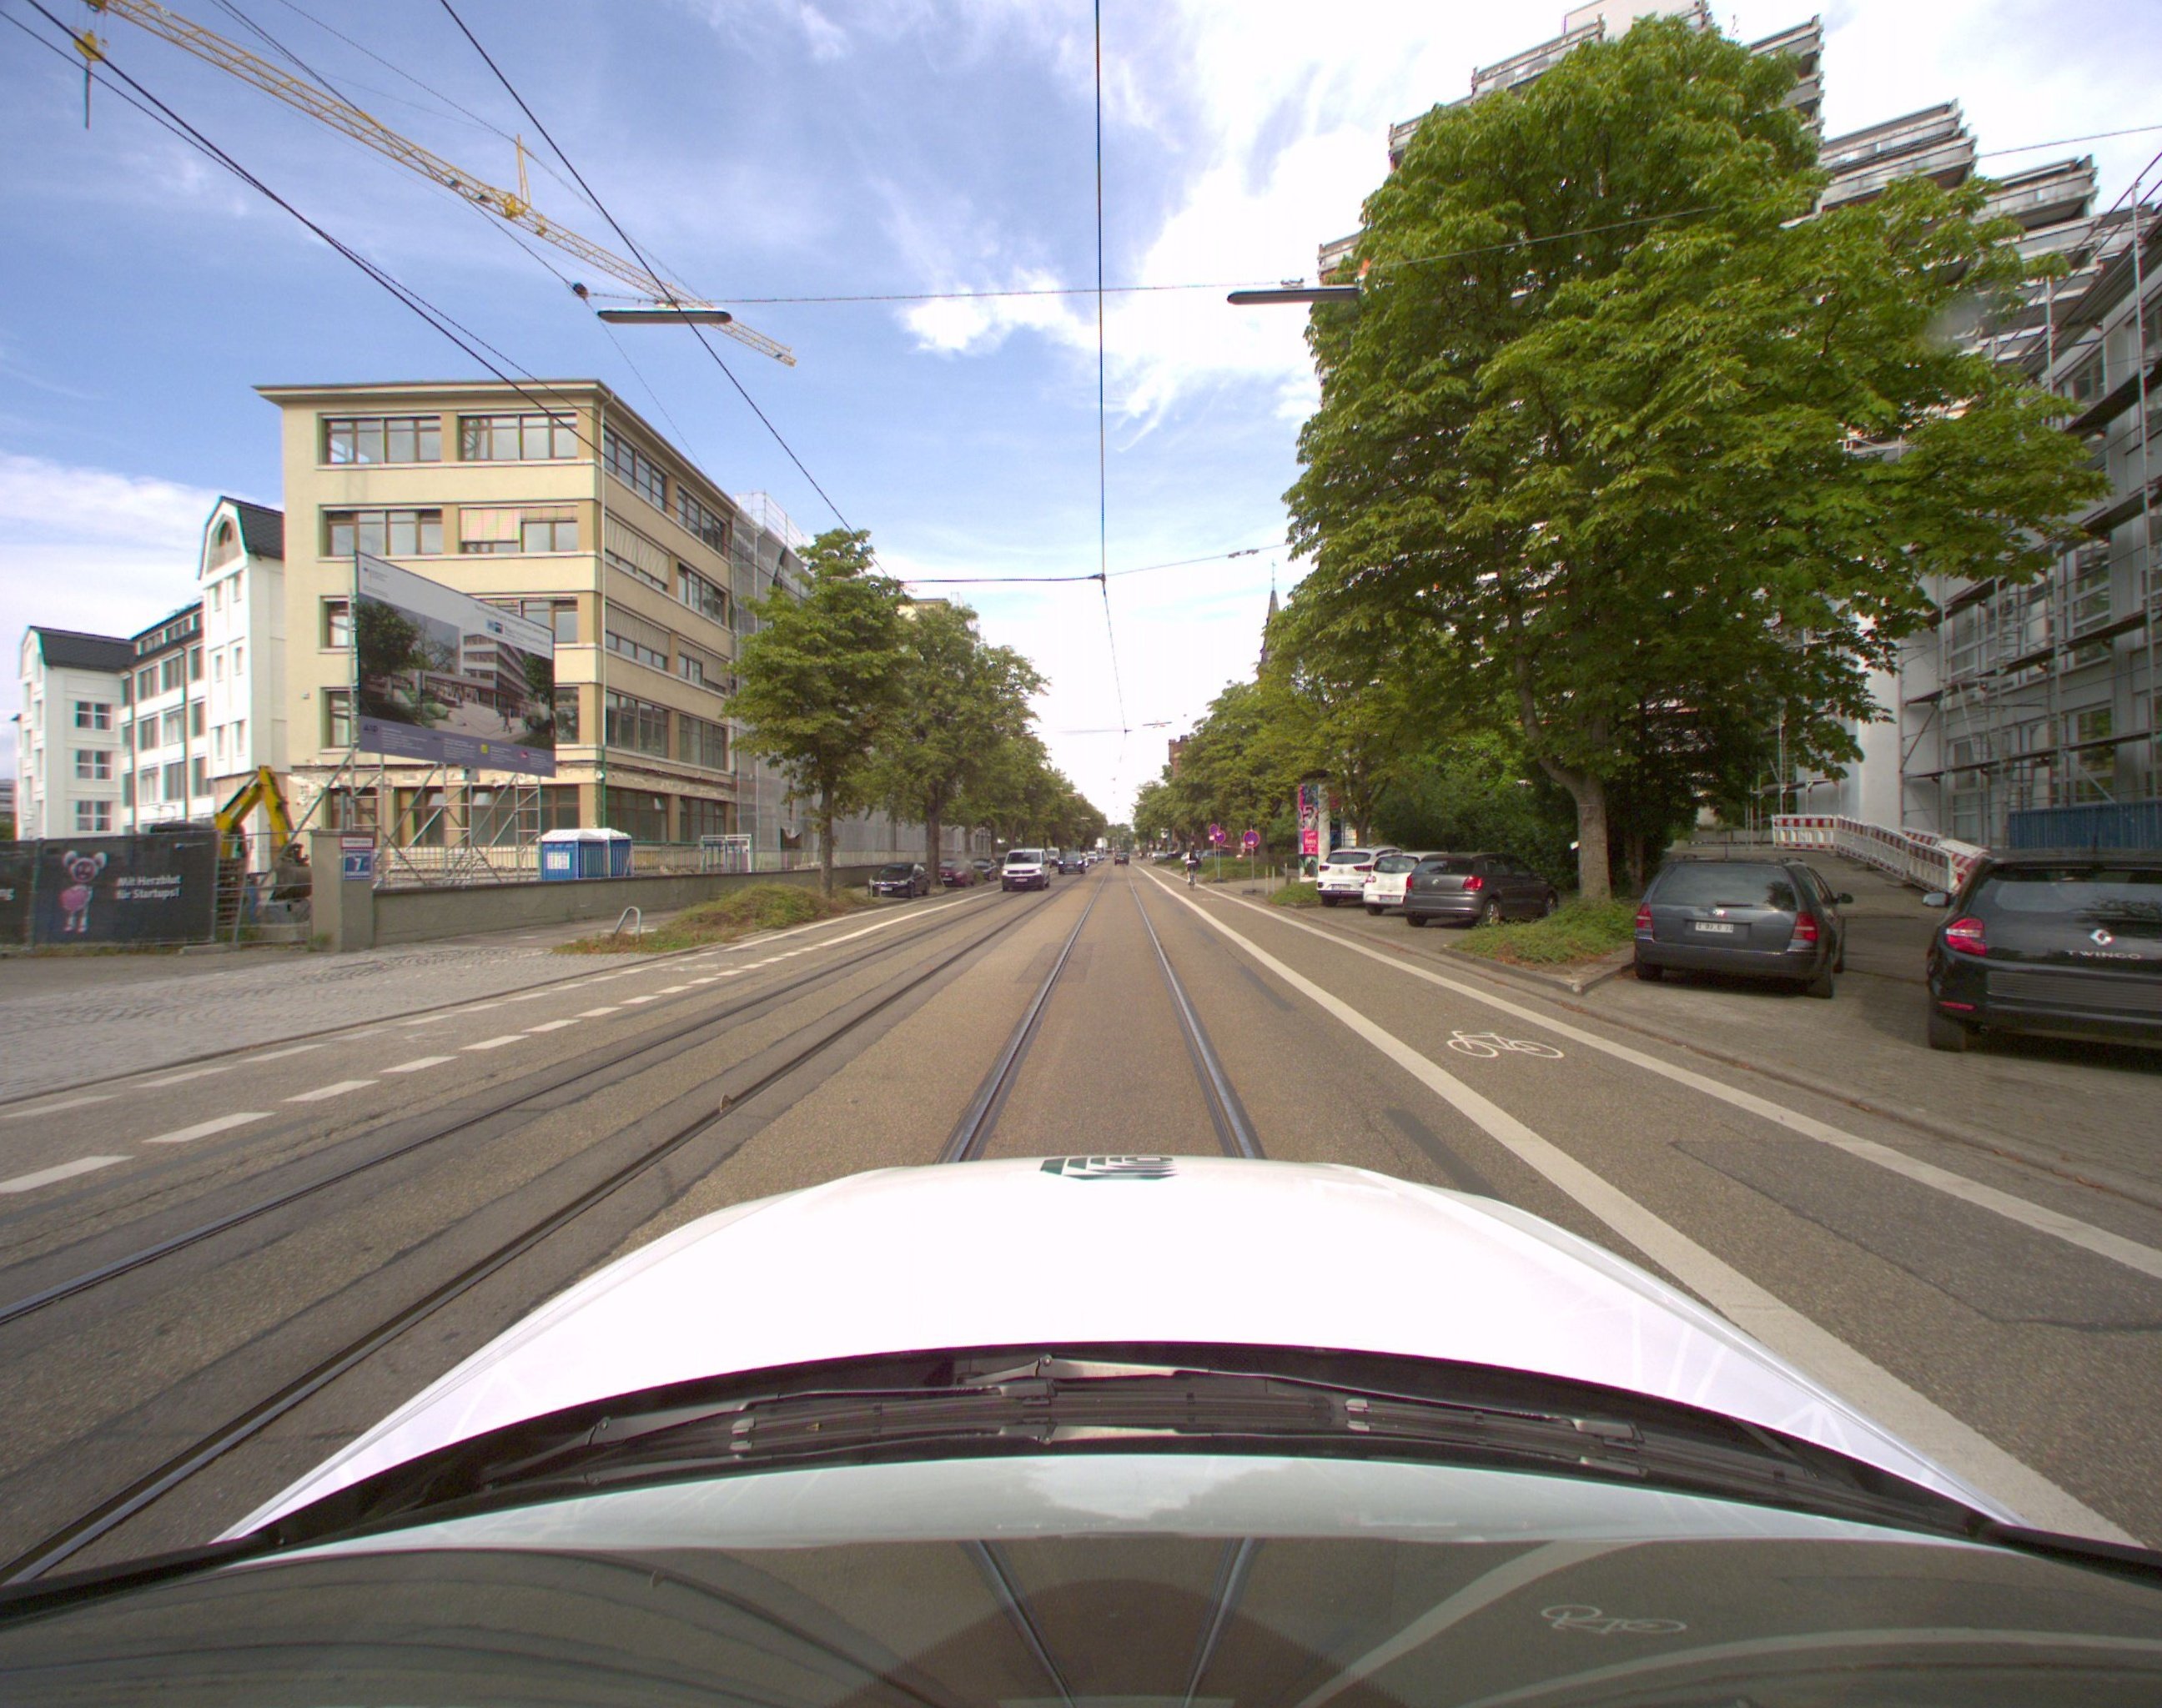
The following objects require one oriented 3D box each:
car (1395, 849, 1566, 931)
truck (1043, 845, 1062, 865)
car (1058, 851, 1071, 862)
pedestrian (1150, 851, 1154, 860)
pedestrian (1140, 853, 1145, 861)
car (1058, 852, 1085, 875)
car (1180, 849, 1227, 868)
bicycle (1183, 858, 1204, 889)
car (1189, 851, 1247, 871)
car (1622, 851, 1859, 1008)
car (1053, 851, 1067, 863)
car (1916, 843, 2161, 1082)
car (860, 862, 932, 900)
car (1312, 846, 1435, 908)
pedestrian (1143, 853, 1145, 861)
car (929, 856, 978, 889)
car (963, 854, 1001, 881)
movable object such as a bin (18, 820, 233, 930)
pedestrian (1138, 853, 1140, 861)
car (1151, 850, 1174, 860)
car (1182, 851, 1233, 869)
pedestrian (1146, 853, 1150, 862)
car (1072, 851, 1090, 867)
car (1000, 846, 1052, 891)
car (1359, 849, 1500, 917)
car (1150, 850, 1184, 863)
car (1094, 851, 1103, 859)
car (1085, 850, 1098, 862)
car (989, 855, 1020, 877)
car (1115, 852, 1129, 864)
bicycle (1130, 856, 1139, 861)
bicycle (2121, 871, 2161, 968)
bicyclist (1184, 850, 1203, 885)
[{"bbox_3d":[7.996,0.640,16.220,3.551,1.442,1.606,-1,0,-37],"label":"car"},{"bbox_3d":[-3.679,0.079,106.421,2.063,2.470,4.901,-2,0,2],"label":"truck"},{"bbox_3d":[-2.670,0.382,132.129,1.795,1.583,4.033,-2,0,2],"label":"car"},{"bbox_3d":[12.040,0.248,138.346,0.723,1.646,0.767,0,0,4],"label":"pedestrian"},{"bbox_3d":[12.602,0.625,166.872,0.721,1.646,0.769,0,0,12],"label":"pedestrian"},{"bbox_3d":[-0.671,0.669,61.660,1.795,1.622,4.486,-2,0,2],"label":"car"},{"bbox_3d":[11.017,0.367,73.256,3.975,1.627,1.884,-1,0,-1],"label":"car"},{"bbox_3d":[4.732,0.817,34.324,0.655,1.249,2.125,0,0,1],"label":"bicycle"},{"bbox_3d":[10.221,0.541,60.962,3.975,1.425,1.884,-1,0,-1],"label":"car"},{"bbox_3d":[7.767,0.706,9.464,3.760,1.458,1.620,0,0,-43],"label":"car"},{"bbox_3d":[-3.053,0.445,119.014,1.795,1.583,4.033,-2,0,2],"label":"car"},{"bbox_3d":[8.091,0.692,6.691,3.760,1.522,1.620,0,0,-43],"label":"car"},{"bbox_3d":[-7.366,1.040,32.812,1.795,1.374,4.033,-2,0,2],"label":"car"},{"bbox_3d":[8.067,0.568,22.376,3.463,1.573,1.543,-1,0,-37],"label":"car"},{"bbox_3d":[15.807,0.831,204.844,0.515,2.013,0.480,0,0,6],"label":"pedestrian"},{"bbox_3d":[-6.723,0.950,43.196,1.795,1.583,4.033,-2,0,2],"label":"car"},{"bbox_3d":[-6.271,0.823,52.062,1.795,1.583,4.033,-2,0,2],"label":"car"},{"bbox_3d":[-18.971,0.394,16.273,1.977,2.067,1.963,-1,0,4],"label":"movable object such as a bin"},{"bbox_3d":[14.494,0.832,204.178,0.515,2.013,0.480,0,0,6],"label":"pedestrian"},{"bbox_3d":[14.541,0.162,145.038,3.975,1.910,1.999,0,0,-1],"label":"car"},{"bbox_3d":[10.541,0.500,67.861,3.975,1.425,1.884,-1,0,-1],"label":"car"},{"bbox_3d":[12.083,0.673,147.816,0.723,1.646,0.767,0,0,4],"label":"pedestrian"},{"bbox_3d":[0.024,0.514,90.049,1.795,1.622,4.486,-2,0,2],"label":"car"},{"bbox_3d":[-2.384,0.620,36.278,1.795,1.823,4.486,-2,0,2],"label":"car"},{"bbox_3d":[8.279,0.619,19.266,3.463,1.442,1.543,-1,0,-37],"label":"car"},{"bbox_3d":[10.413,0.267,98.936,3.975,1.508,1.884,-1,0,-1],"label":"car"},{"bbox_3d":[3.472,0.212,162.228,1.795,1.622,4.486,-2,0,2],"label":"car"},{"bbox_3d":[1.628,0.300,123.267,1.795,1.622,4.486,-2,0,2],"label":"car"},{"bbox_3d":[-5.868,0.864,62.795,1.795,1.583,4.033,-2,0,2],"label":"car"},{"bbox_3d":[5.156,0.464,102.511,1.786,1.423,4.002,0,0,2],"label":"car"},{"bbox_3d":[11.048,0.941,167.166,1.709,0.991,0.660,0,0,11],"label":"bicycle"},{"bbox_3d":[13.617,0.746,9.363,1.947,1.128,0.542,-2,-1,32],"label":"bicycle"},{"bbox_3d":[4.724,0.563,34.284,0.655,1.463,1.179,0,0,1],"label":"bicyclist"}]
